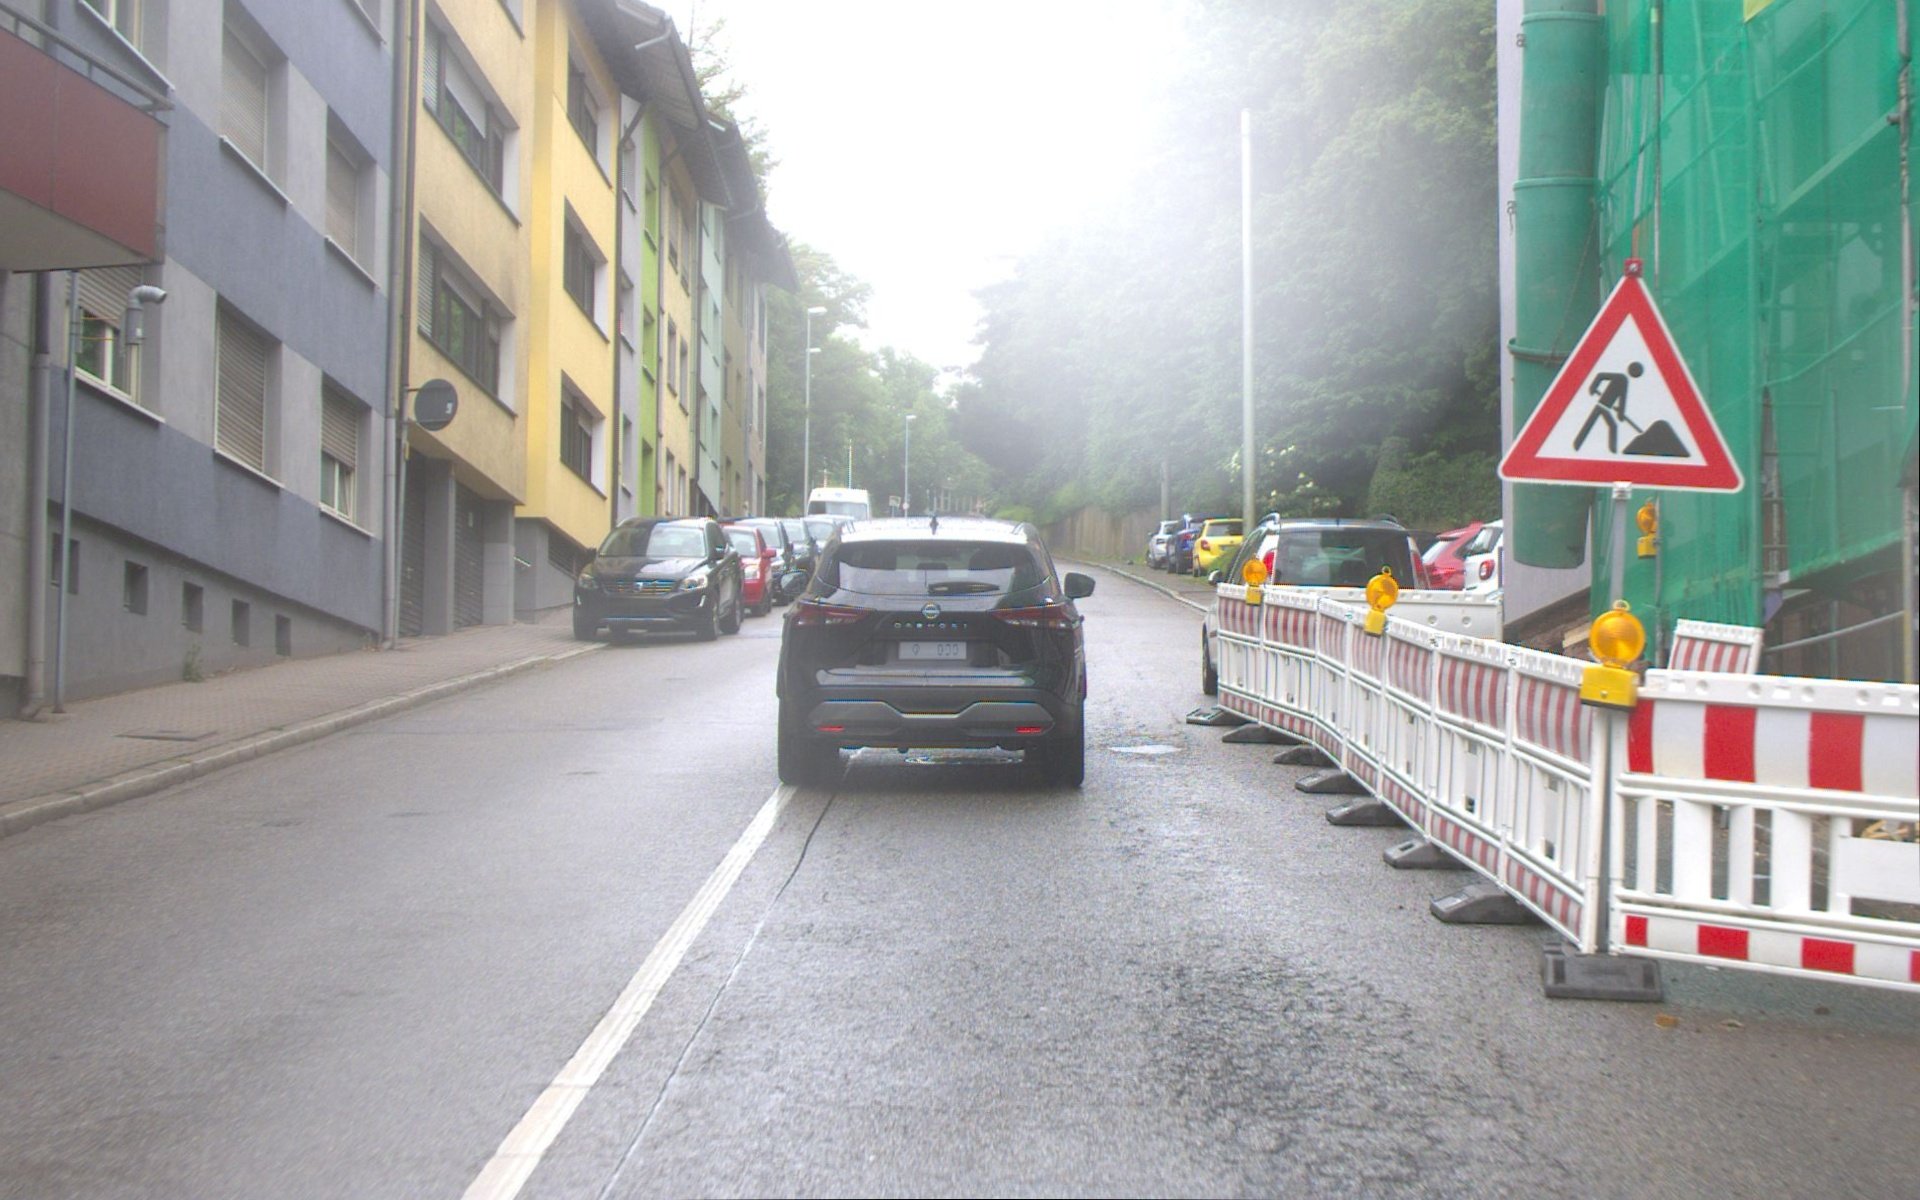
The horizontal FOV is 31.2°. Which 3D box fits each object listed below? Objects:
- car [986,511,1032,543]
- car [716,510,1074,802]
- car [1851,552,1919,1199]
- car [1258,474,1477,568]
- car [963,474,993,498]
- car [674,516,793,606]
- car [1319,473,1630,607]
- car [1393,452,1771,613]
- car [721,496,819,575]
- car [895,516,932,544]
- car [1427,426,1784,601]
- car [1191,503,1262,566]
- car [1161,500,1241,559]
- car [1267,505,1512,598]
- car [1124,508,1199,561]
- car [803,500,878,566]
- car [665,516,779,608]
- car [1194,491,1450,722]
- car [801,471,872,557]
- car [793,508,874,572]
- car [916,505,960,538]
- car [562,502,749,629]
[{"bbox_3d":[2.476,-3.725,175.593,2.074,1.554,4.001,1,2,-3],"label":"car"},{"bbox_3d":[-0.365,0.268,21.570,1.993,1.554,4.000,2,2,0],"label":"car"},{"bbox_3d":[3.168,0.703,6.133,1.993,1.507,4.337,2,1,0],"label":"car"},{"bbox_3d":[8.445,-1.647,71.461,4.197,1.728,1.760,3,1,-3],"label":"car"},{"bbox_3d":[1.312,-8.205,246.930,1.994,1.554,4.000,-1,0,2],"label":"car"},{"bbox_3d":[-4.205,-0.759,64.346,1.993,1.579,4.472,0,2,-1],"label":"car"},{"bbox_3d":[7.234,-0.852,48.543,3.961,1.524,1.693,-5,2,-3],"label":"car"},{"bbox_3d":[7.895,-0.876,43.895,4.341,1.524,1.877,-7,2,0],"label":"car"},{"bbox_3d":[-3.917,-1.361,71.490,1.853,1.579,4.306,0,2,-1],"label":"car"},{"bbox_3d":[-2.675,-4.014,197.474,2.074,1.554,4.001,1,2,-1],"label":"car"},{"bbox_3d":[7.765,-1.052,41.586,3.826,1.696,1.729,-6,2,-1],"label":"car"},{"bbox_3d":[6.704,-1.673,86.831,1.633,1.524,4.000,2,2,3],"label":"car"},{"bbox_3d":[6.541,-1.944,93.794,1.811,1.525,4.417,-2,1,0],"label":"car"},{"bbox_3d":[7.892,-0.904,63.398,4.197,1.491,1.760,3,1,-2],"label":"car"},{"bbox_3d":[6.084,-1.995,104.332,1.810,1.525,4.418,-2,1,-2],"label":"car"},{"bbox_3d":[-3.282,-1.862,94.898,1.990,1.749,4.480,0,2,-1],"label":"car"},{"bbox_3d":[-3.962,-0.659,57.619,1.728,1.467,3.492,0,2,-1],"label":"car"},{"bbox_3d":[3.018,-0.008,29.381,1.640,1.756,4.001,2,2,-1],"label":"car"},{"bbox_3d":[-3.652,-2.583,102.481,1.990,2.466,5.785,0,2,-1],"label":"car"},{"bbox_3d":[-3.240,-1.579,88.766,1.990,1.579,4.306,0,2,-1],"label":"car"},{"bbox_3d":[-1.113,-3.930,171.394,2.074,1.554,4.001,1,2,-1],"label":"car"},{"bbox_3d":[-4.121,-0.517,47.264,1.994,1.644,4.441,0,2,3],"label":"car"}]
